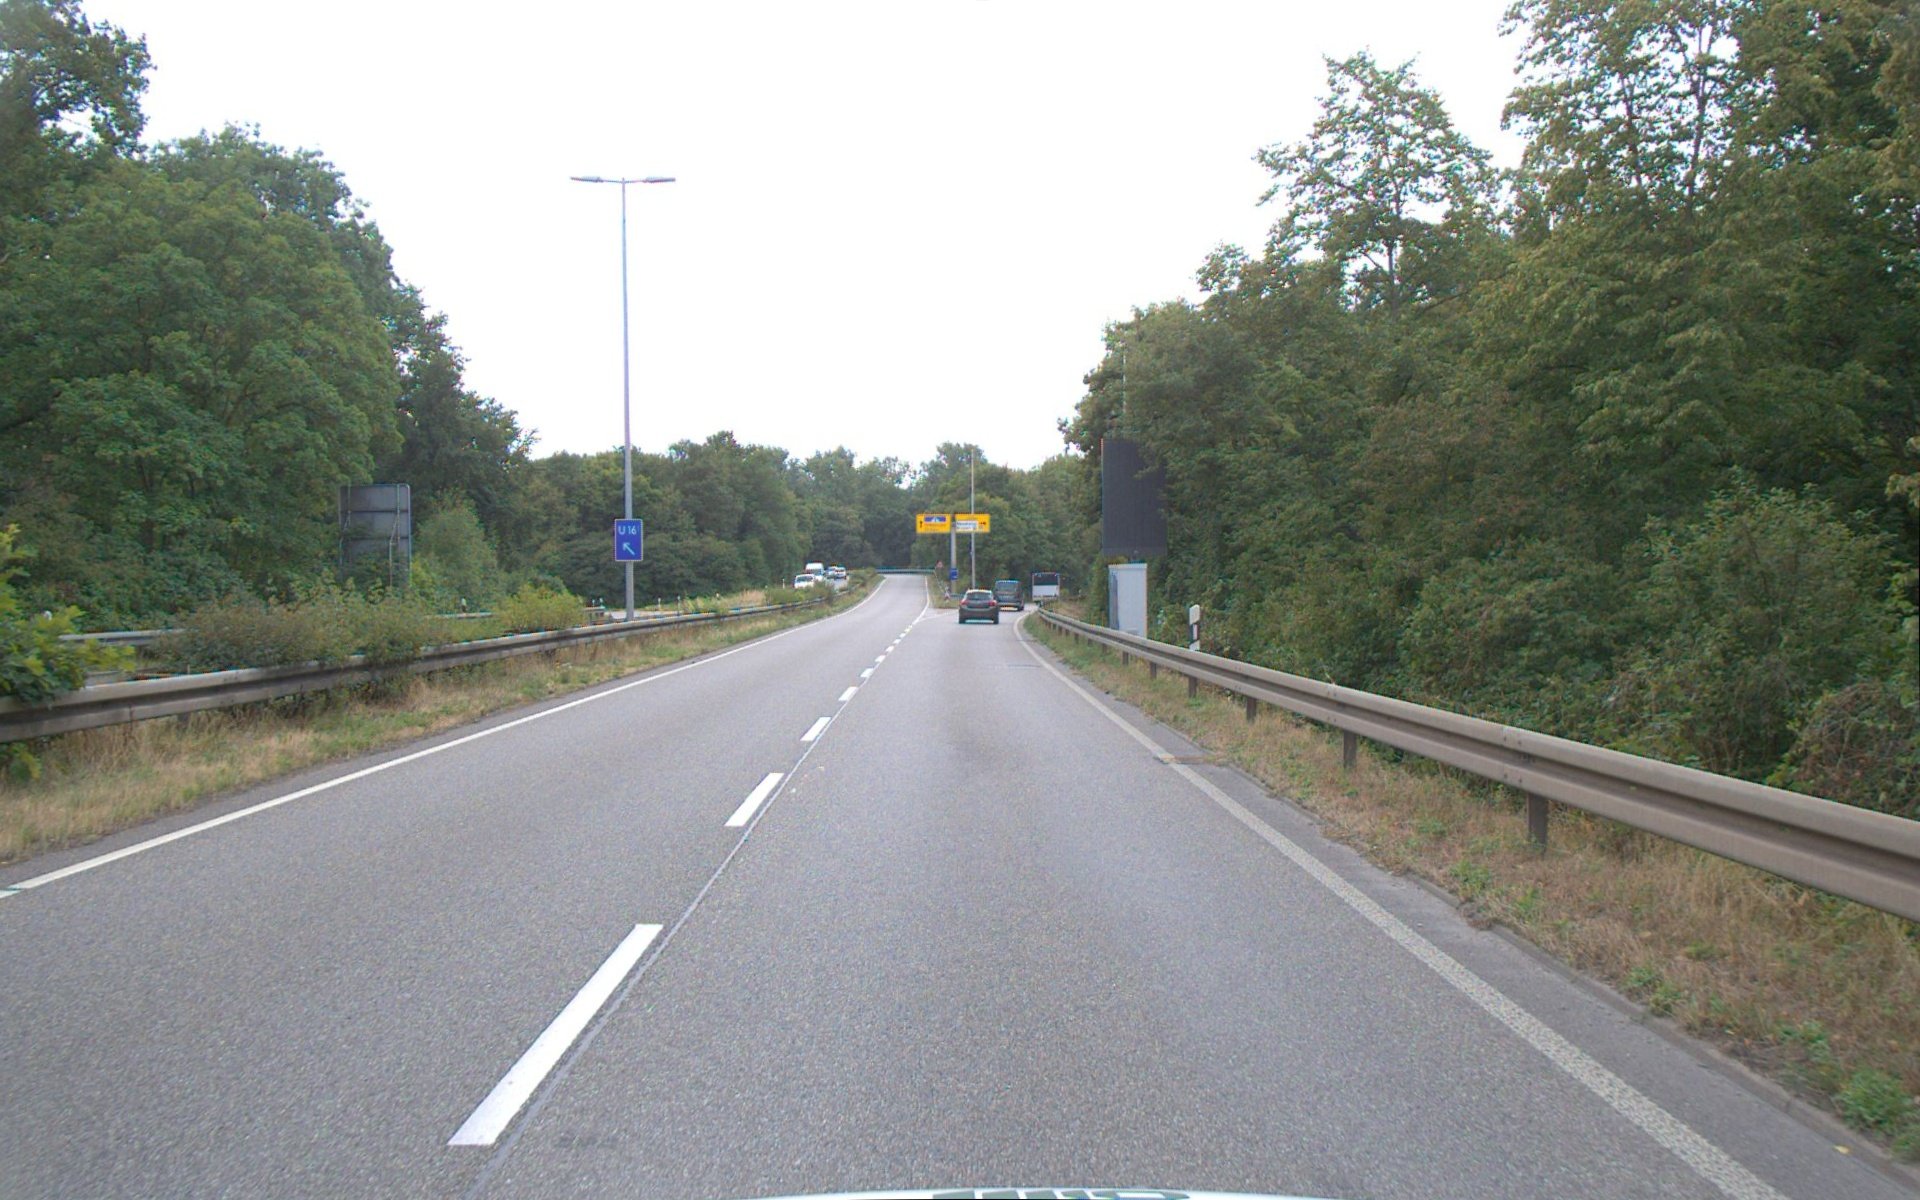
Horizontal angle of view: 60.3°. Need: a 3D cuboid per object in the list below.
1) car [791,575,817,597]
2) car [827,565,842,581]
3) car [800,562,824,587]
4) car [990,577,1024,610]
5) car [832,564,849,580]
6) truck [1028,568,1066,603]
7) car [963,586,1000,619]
[{"bbox_3d":[-13.949,-1.298,148.042,1.953,1.879,4.000,0,1,0],"label":"car"},{"bbox_3d":[-17.771,-3.823,234.177,1.954,2.049,3.997,0,-1,-3],"label":"car"},{"bbox_3d":[-15.796,-2.744,176.899,2.075,2.637,5.040,0,1,0],"label":"car"},{"bbox_3d":[3.089,-0.407,109.705,2.104,2.049,3.999,0,-1,0],"label":"car"},{"bbox_3d":[-15.587,-3.637,216.485,1.953,2.049,4.000,0,1,0],"label":"car"},{"bbox_3d":[7.828,-1.234,147.940,2.917,2.935,7.996,0,-1,6],"label":"truck"},{"bbox_3d":[0.953,0.135,73.865,1.592,1.402,3.999,0,-1,0],"label":"car"}]
